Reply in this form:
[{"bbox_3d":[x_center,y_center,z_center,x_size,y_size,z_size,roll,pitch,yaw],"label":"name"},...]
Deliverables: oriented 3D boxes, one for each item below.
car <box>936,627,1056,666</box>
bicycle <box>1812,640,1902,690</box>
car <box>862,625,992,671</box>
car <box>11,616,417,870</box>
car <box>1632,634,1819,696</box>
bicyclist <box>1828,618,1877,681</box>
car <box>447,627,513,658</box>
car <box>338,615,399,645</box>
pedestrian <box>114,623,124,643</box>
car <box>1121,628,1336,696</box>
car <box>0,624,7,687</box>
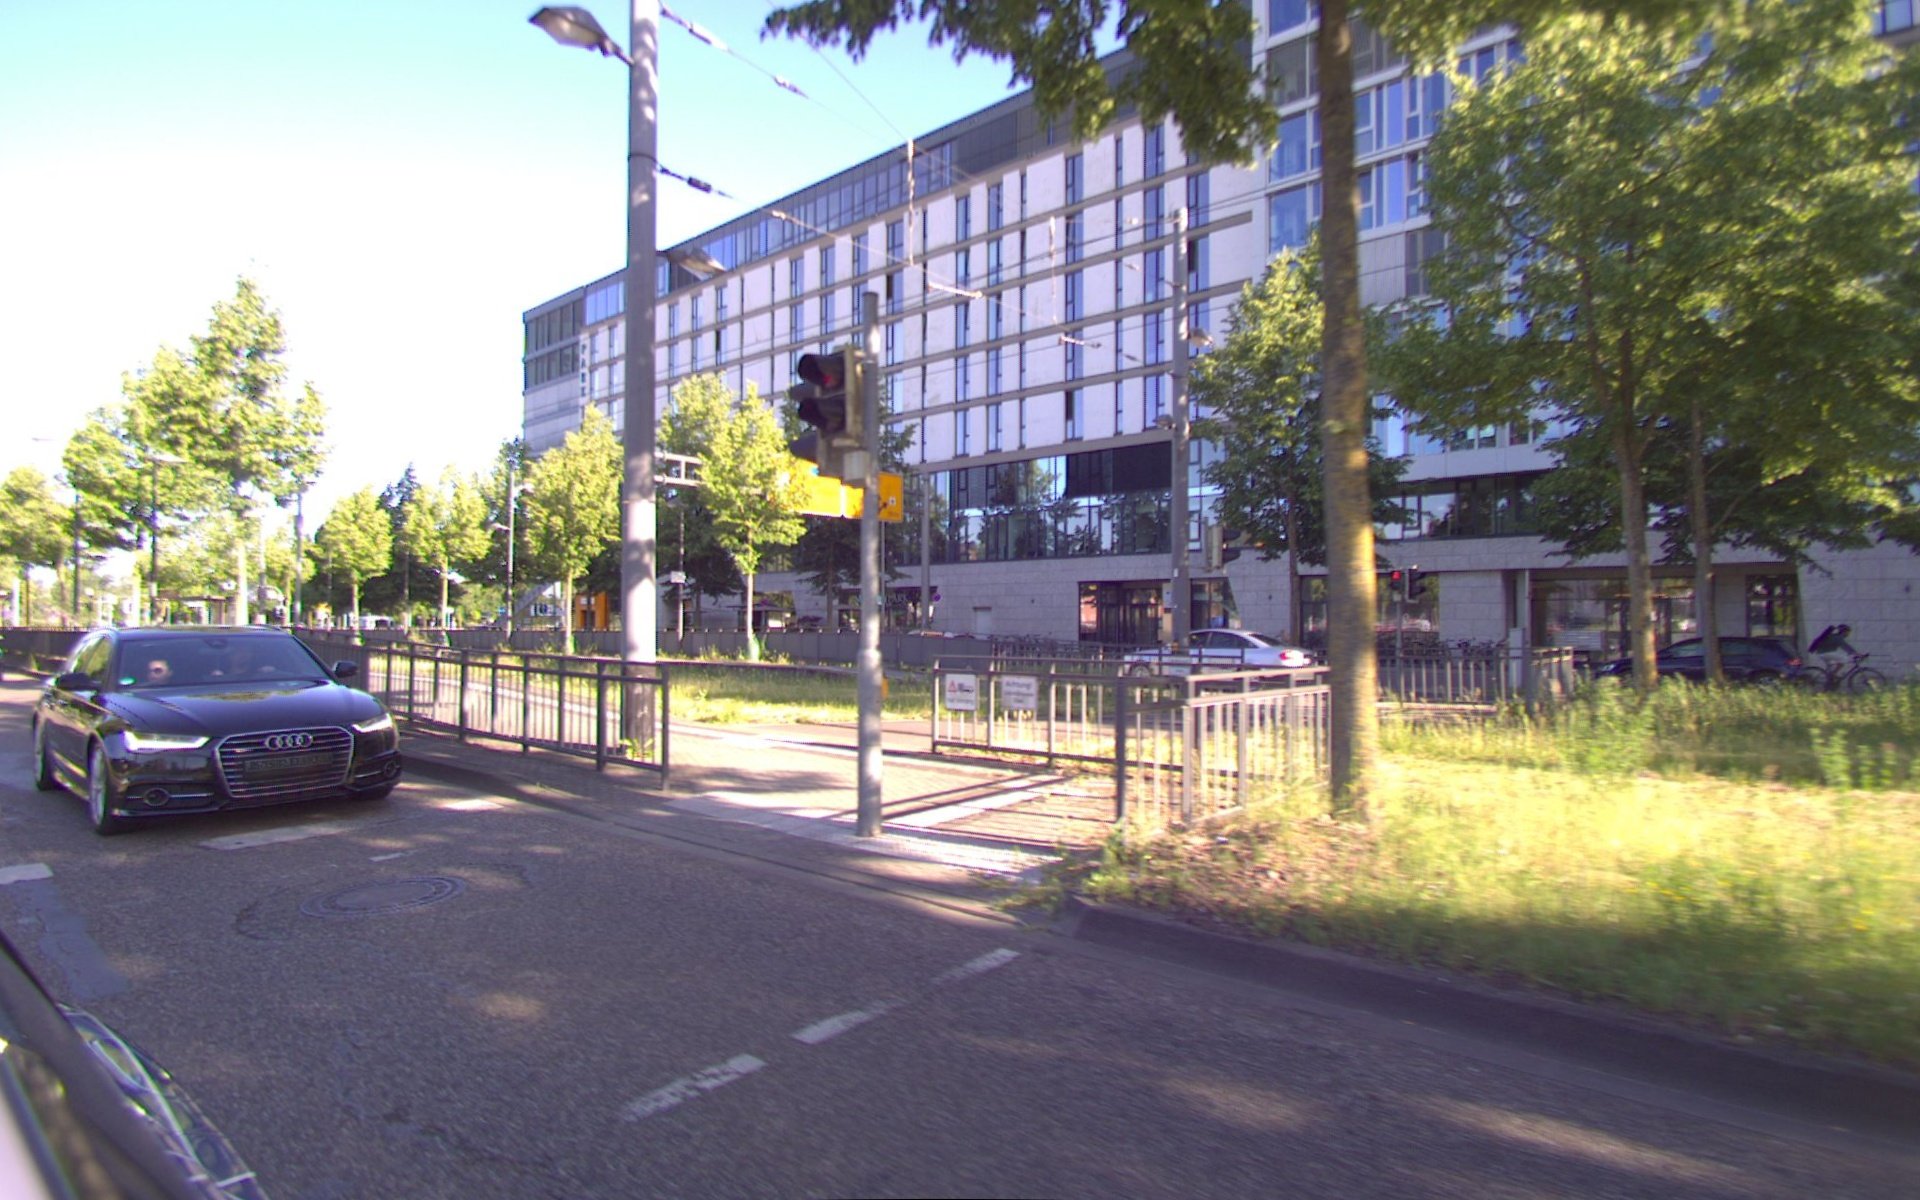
[{"bbox_3d":[1.352,1.785,39.518,4.543,1.431,1.937,-1,-2,42],"label":"car"},{"bbox_3d":[21.448,1.536,24.205,1.571,1.128,0.724,-2,-2,44],"label":"bicycle"},{"bbox_3d":[-1.142,1.557,33.611,4.331,1.414,1.741,-2,-2,41],"label":"car"},{"bbox_3d":[-6.360,0.928,8.403,4.599,1.538,1.766,-1,-1,41],"label":"car"},{"bbox_3d":[18.222,1.488,24.164,3.464,1.244,1.632,1,0,41],"label":"car"},{"bbox_3d":[21.395,1.171,24.264,0.832,1.475,0.712,-2,-2,43],"label":"bicyclist"},{"bbox_3d":[-24.211,2.119,50.999,3.699,1.532,1.661,-2,-2,41],"label":"car"},{"bbox_3d":[-35.996,1.801,61.568,4.226,1.763,1.972,-2,-2,41],"label":"car"},{"bbox_3d":[-68.033,2.661,81.855,0.810,1.590,0.413,0,-1,39],"label":"pedestrian"},{"bbox_3d":[6.130,1.375,23.461,4.507,1.414,1.799,-2,-2,41],"label":"car"},{"bbox_3d":[-26.106,1.409,26.058,4.526,1.581,1.825,-2,-2,41],"label":"car"}]
